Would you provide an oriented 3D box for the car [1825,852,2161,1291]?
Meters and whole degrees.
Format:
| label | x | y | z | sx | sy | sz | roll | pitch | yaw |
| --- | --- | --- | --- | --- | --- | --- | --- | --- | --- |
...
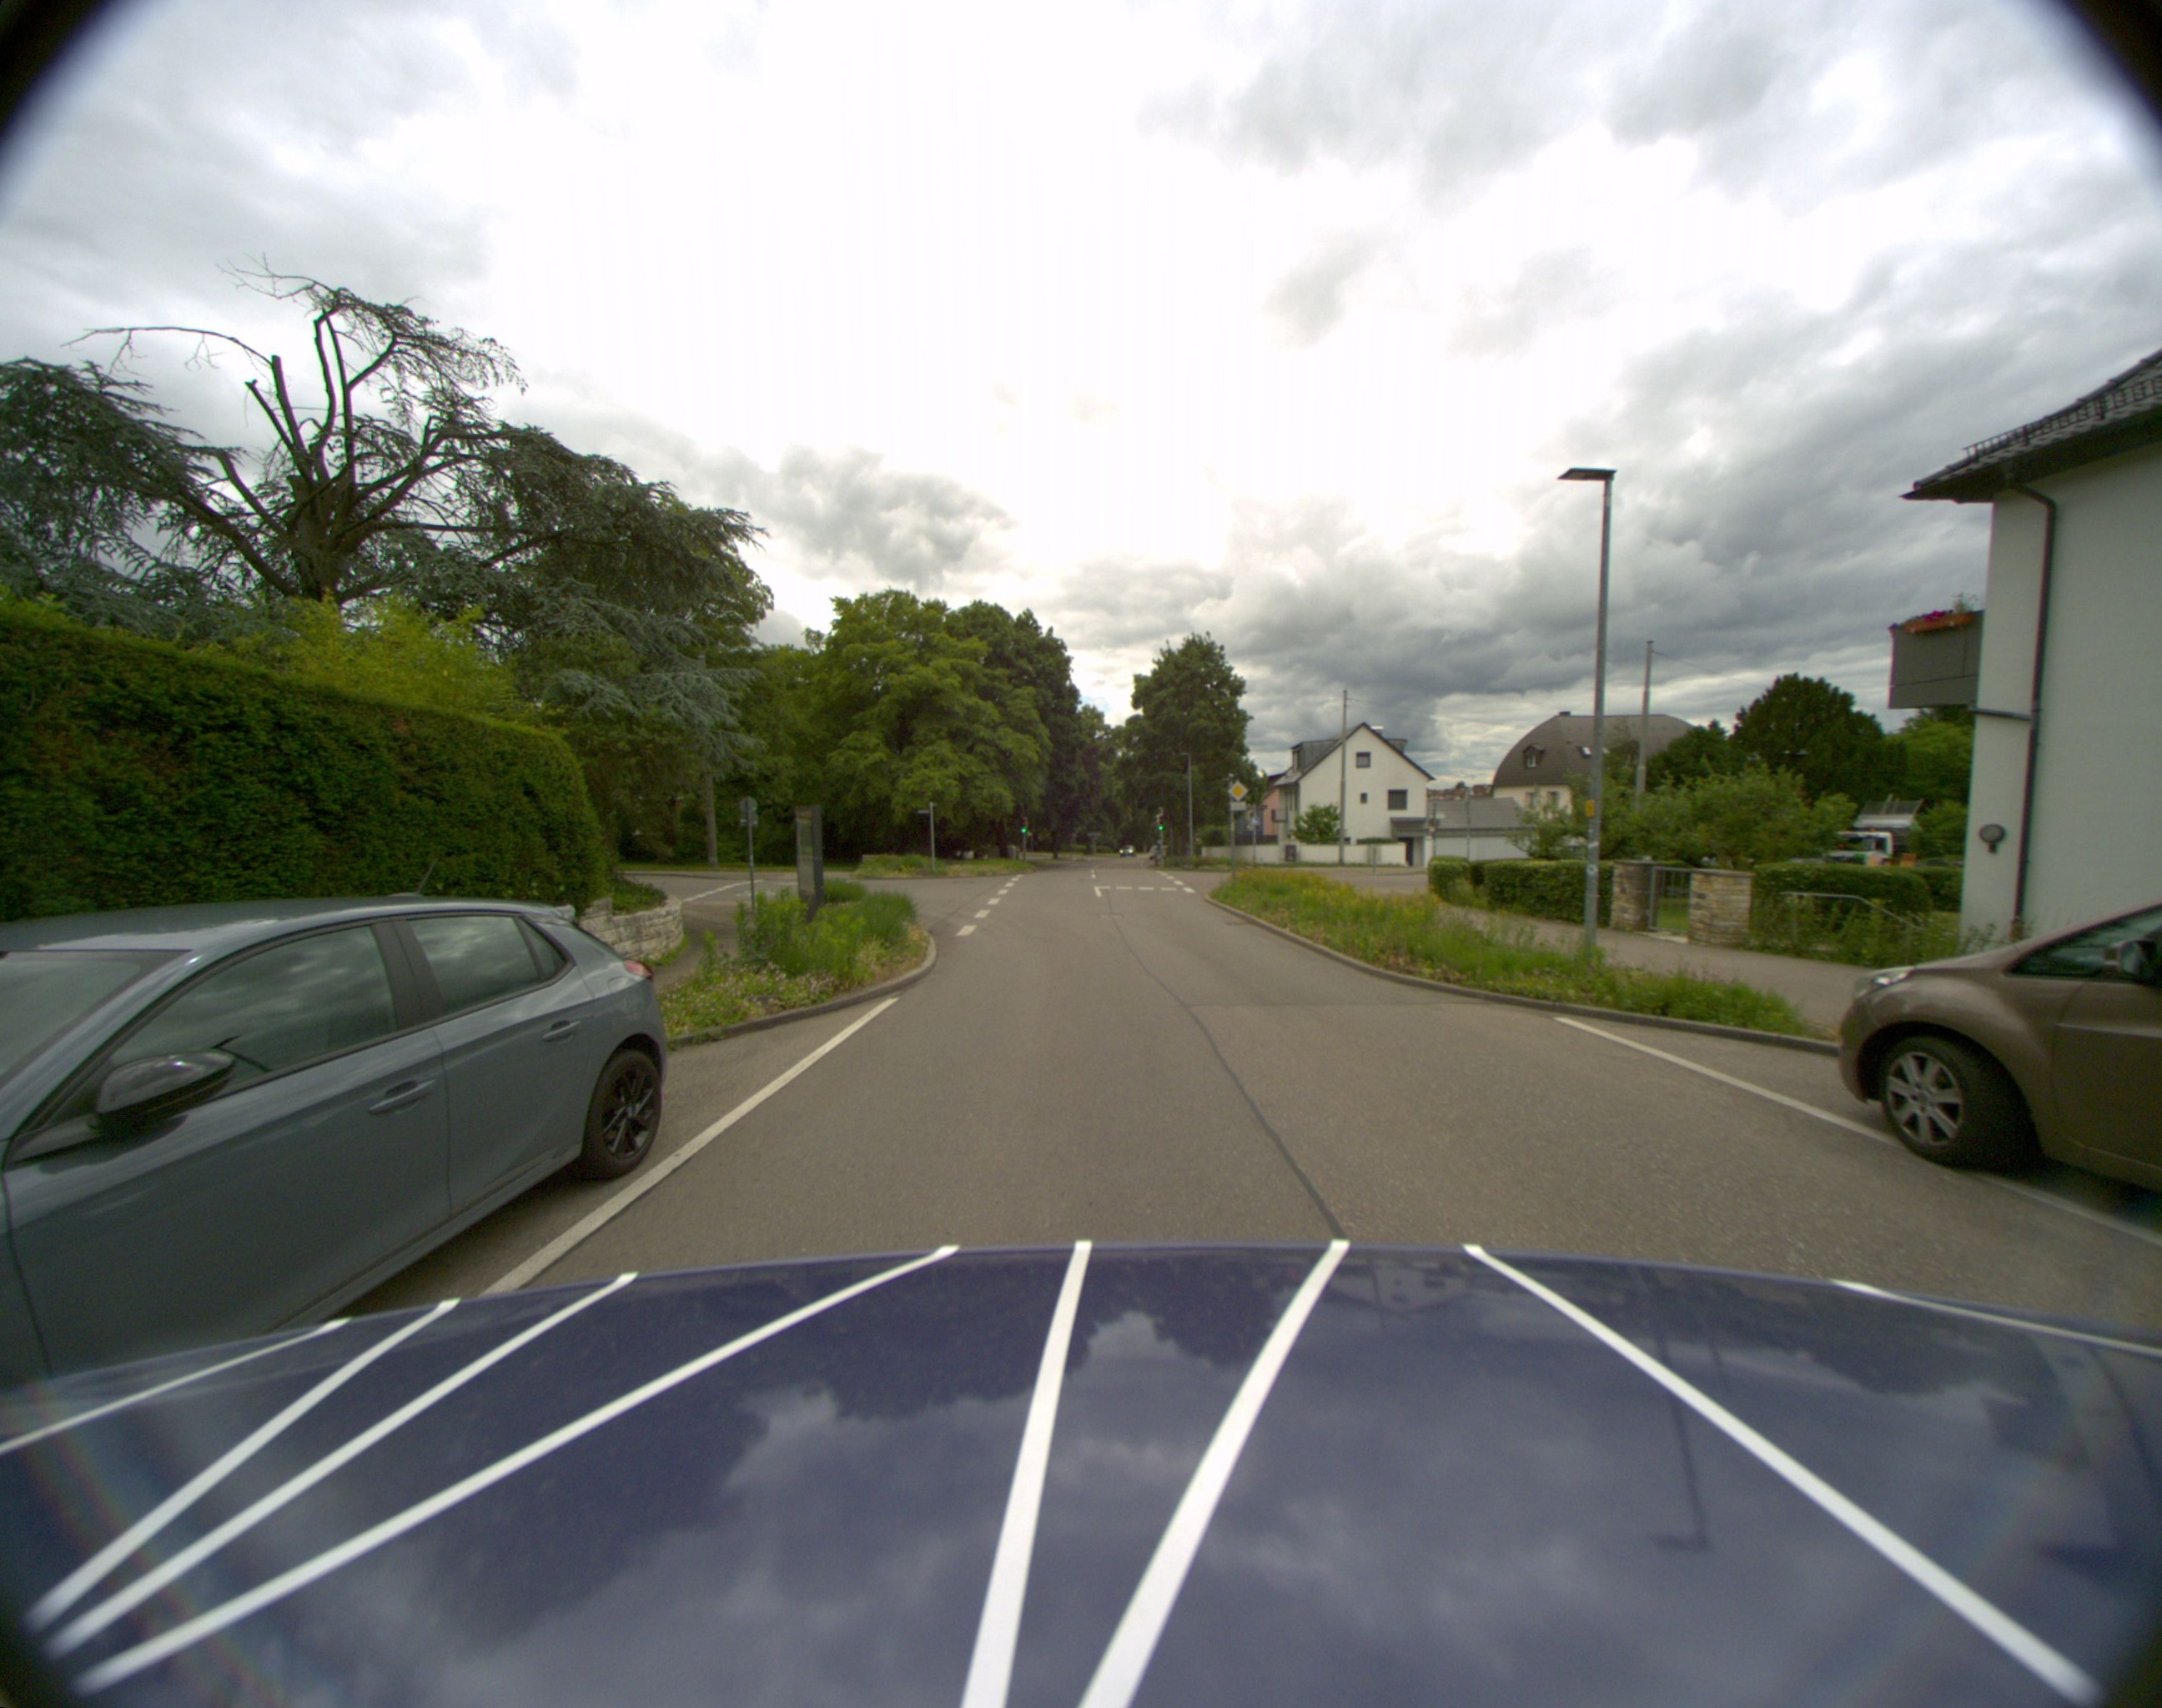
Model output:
| label | x | y | z | sx | sy | sz | roll | pitch | yaw |
| --- | --- | --- | --- | --- | --- | --- | --- | --- | --- |
| car | 4.875 | 0.808 | 2.117 | 1.882 | 1.576 | 3.872 | -1 | 1 | 2 |

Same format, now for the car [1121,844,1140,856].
| label | x | y | z | sx | sy | sz | roll | pitch | yaw |
| --- | --- | --- | --- | --- | --- | --- | --- | --- | --- |
| car | 6.604 | -0.546 | 100.907 | 1.566 | 1.504 | 3.400 | 2 | 3 | 20 |

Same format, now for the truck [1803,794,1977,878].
| label | x | y | z | sx | sy | sz | roll | pitch | yaw |
| --- | --- | --- | --- | --- | --- | --- | --- | --- | --- |
| truck | 46.116 | -1.030 | 43.365 | 7.958 | 4.528 | 3.148 | 0 | 4 | -16 |

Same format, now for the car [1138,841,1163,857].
| label | x | y | z | sx | sy | sz | roll | pitch | yaw |
| --- | --- | --- | --- | --- | --- | --- | --- | --- | --- |
| car | 7.589 | -0.557 | 82.667 | 1.996 | 1.544 | 4.003 | 2 | 3 | 16 |

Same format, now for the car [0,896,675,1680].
| label | x | y | z | sx | sy | sz | roll | pitch | yaw |
| --- | --- | --- | --- | --- | --- | --- | --- | --- | --- |
| car | -3.206 | 1.016 | 2.205 | 1.860 | 1.455 | 3.999 | -2 | 1 | 0 |
